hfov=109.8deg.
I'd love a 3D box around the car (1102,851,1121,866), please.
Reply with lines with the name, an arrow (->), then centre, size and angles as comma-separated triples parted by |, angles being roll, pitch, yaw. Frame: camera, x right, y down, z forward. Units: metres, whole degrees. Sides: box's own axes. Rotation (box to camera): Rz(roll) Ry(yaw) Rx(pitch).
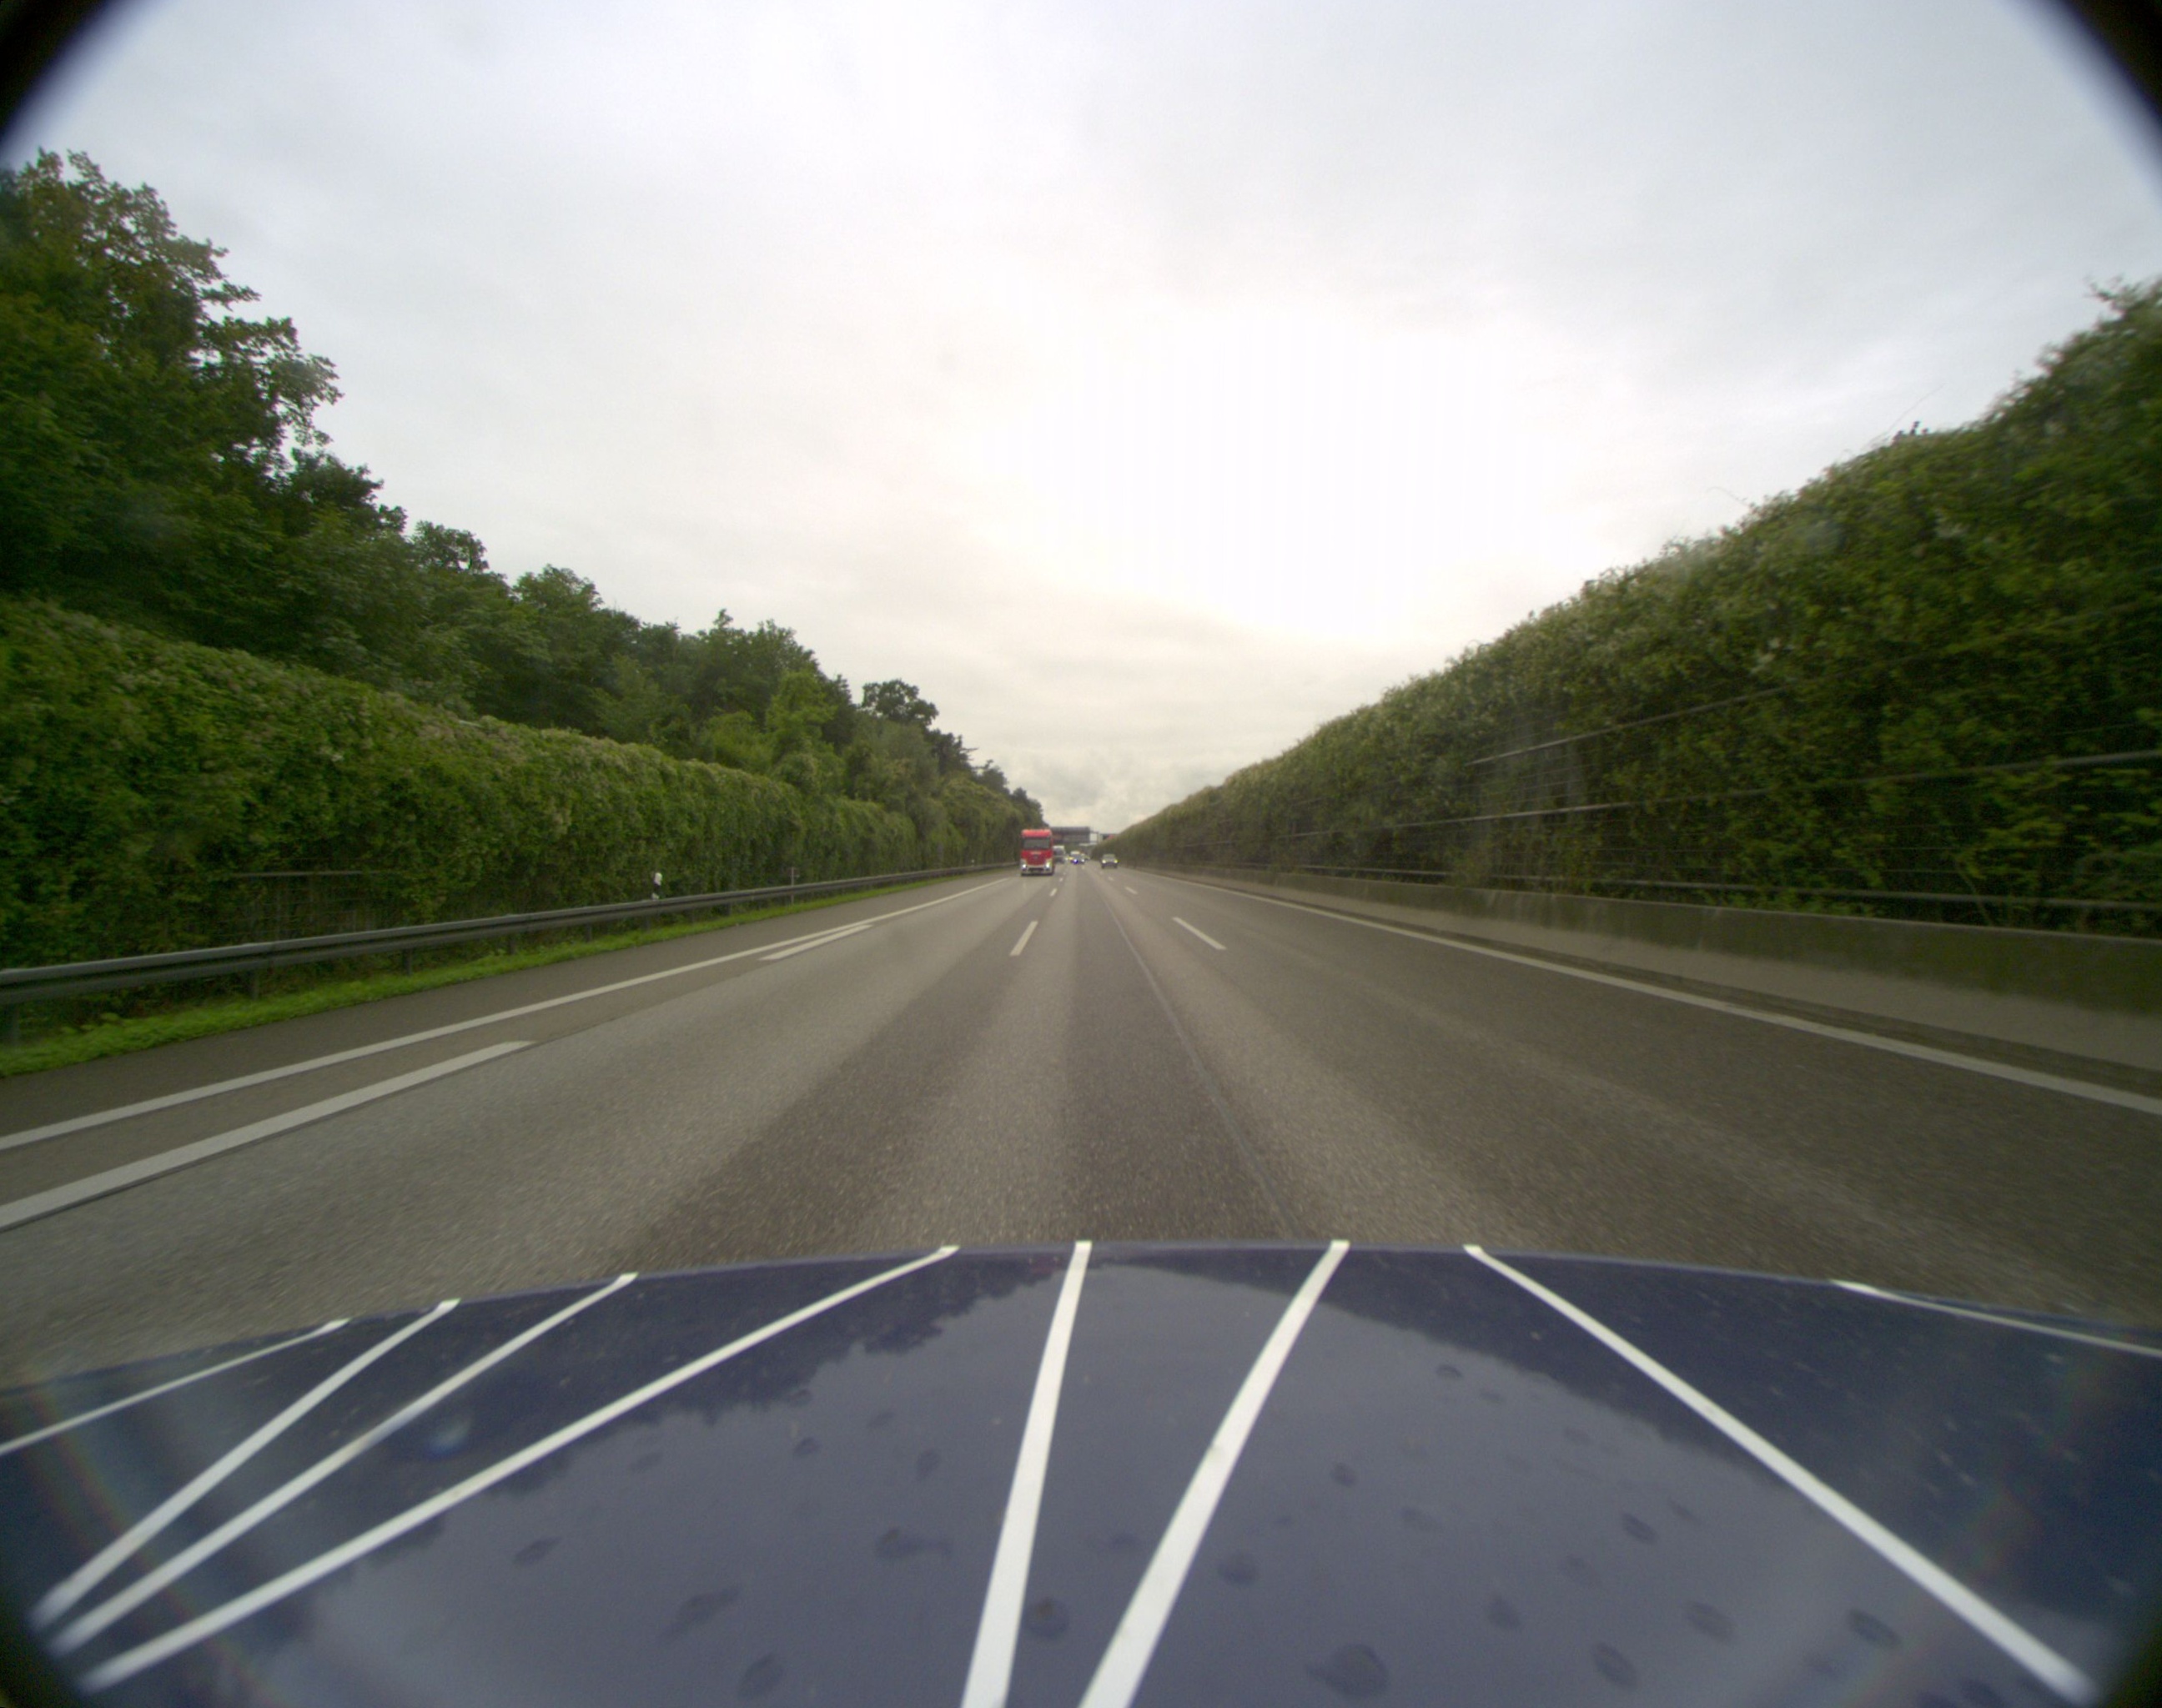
car -> 3.663, 0.534, 92.127 | 2.023, 1.595, 5.438 | -3, 1, -1

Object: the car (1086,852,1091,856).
car -> 2.384, 0.023, 247.213 | 1.751, 1.368, 3.999 | -1, 0, 0

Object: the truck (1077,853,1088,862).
truck -> 0.264, 0.629, 137.477 | 1.825, 1.535, 3.998 | -2, 2, 0

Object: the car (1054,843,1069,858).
car -> -4.134, -0.770, 164.124 | 3.039, 3.278, 6.732 | -2, 1, 0

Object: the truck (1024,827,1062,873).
truck -> -3.227, -0.482, 66.909 | 2.708, 3.690, 9.839 | -1, 2, 1

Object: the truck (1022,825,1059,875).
truck -> -3.262, -0.372, 61.812 | 2.709, 3.809, 4.197 | -1, 2, 0

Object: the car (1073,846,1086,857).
car -> -0.383, -0.493, 162.809 | 2.769, 2.227, 6.545 | -2, 1, 0
